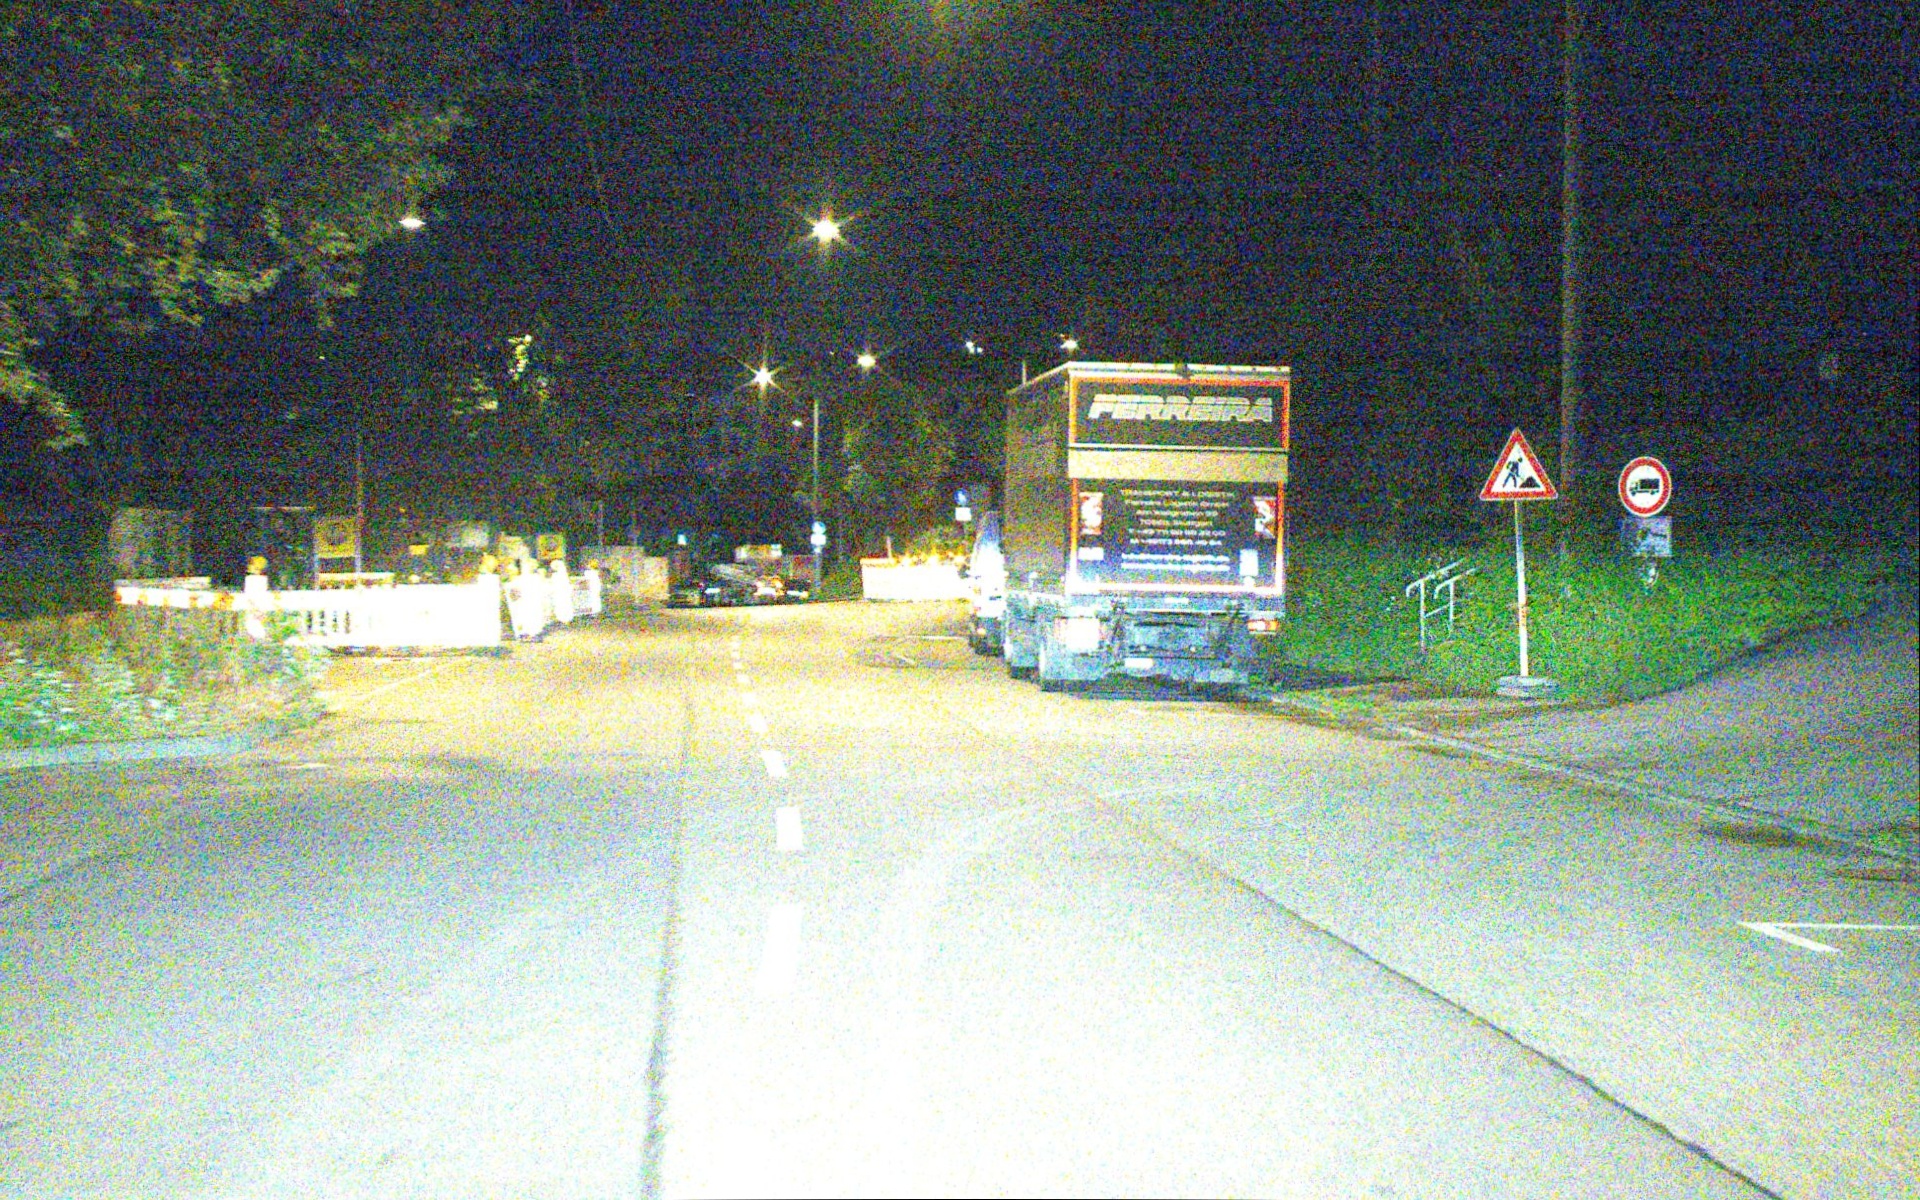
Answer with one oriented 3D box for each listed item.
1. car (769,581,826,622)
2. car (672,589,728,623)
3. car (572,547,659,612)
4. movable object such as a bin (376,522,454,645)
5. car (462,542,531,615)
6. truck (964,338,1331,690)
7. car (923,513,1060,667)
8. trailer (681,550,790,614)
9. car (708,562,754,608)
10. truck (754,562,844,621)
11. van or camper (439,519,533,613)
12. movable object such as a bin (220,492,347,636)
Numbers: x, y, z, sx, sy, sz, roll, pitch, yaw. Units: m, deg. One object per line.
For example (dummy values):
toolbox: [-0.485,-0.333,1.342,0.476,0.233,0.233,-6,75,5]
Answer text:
car: [-7.746,0.085,163.974,1.721,1.815,3.998,2,-1,11]
car: [-14.170,0.347,187.630,1.994,1.694,4.204,2,-1,11]
car: [-17.165,-0.992,171.568,2.520,3.160,7.134,-1,0,9]
movable object such as a bin: [-12.578,-0.398,79.244,1.570,2.725,3.702,-2,1,-11]
car: [-19.001,-0.841,141.188,2.518,2.917,7.202,0,0,-5]
truck: [2.128,-0.966,43.510,3.323,3.855,9.329,2,0,-4]
car: [0.495,-0.192,60.906,2.108,2.507,6.372,2,0,-2]
trailer: [-7.885,-0.606,120.374,1.559,2.153,5.221,0,-1,-31]
car: [-9.004,-0.564,135.344,1.720,1.655,4.000,2,-1,-4]
truck: [-9.595,-0.472,205.878,1.995,3.392,8.970,2,1,20]
van or camper: [-16.065,-1.097,116.905,2.519,3.084,7.446,0,0,-3]
movable object such as a bin: [-11.854,-0.612,60.148,1.548,2.459,2.840,0,0,-25]
